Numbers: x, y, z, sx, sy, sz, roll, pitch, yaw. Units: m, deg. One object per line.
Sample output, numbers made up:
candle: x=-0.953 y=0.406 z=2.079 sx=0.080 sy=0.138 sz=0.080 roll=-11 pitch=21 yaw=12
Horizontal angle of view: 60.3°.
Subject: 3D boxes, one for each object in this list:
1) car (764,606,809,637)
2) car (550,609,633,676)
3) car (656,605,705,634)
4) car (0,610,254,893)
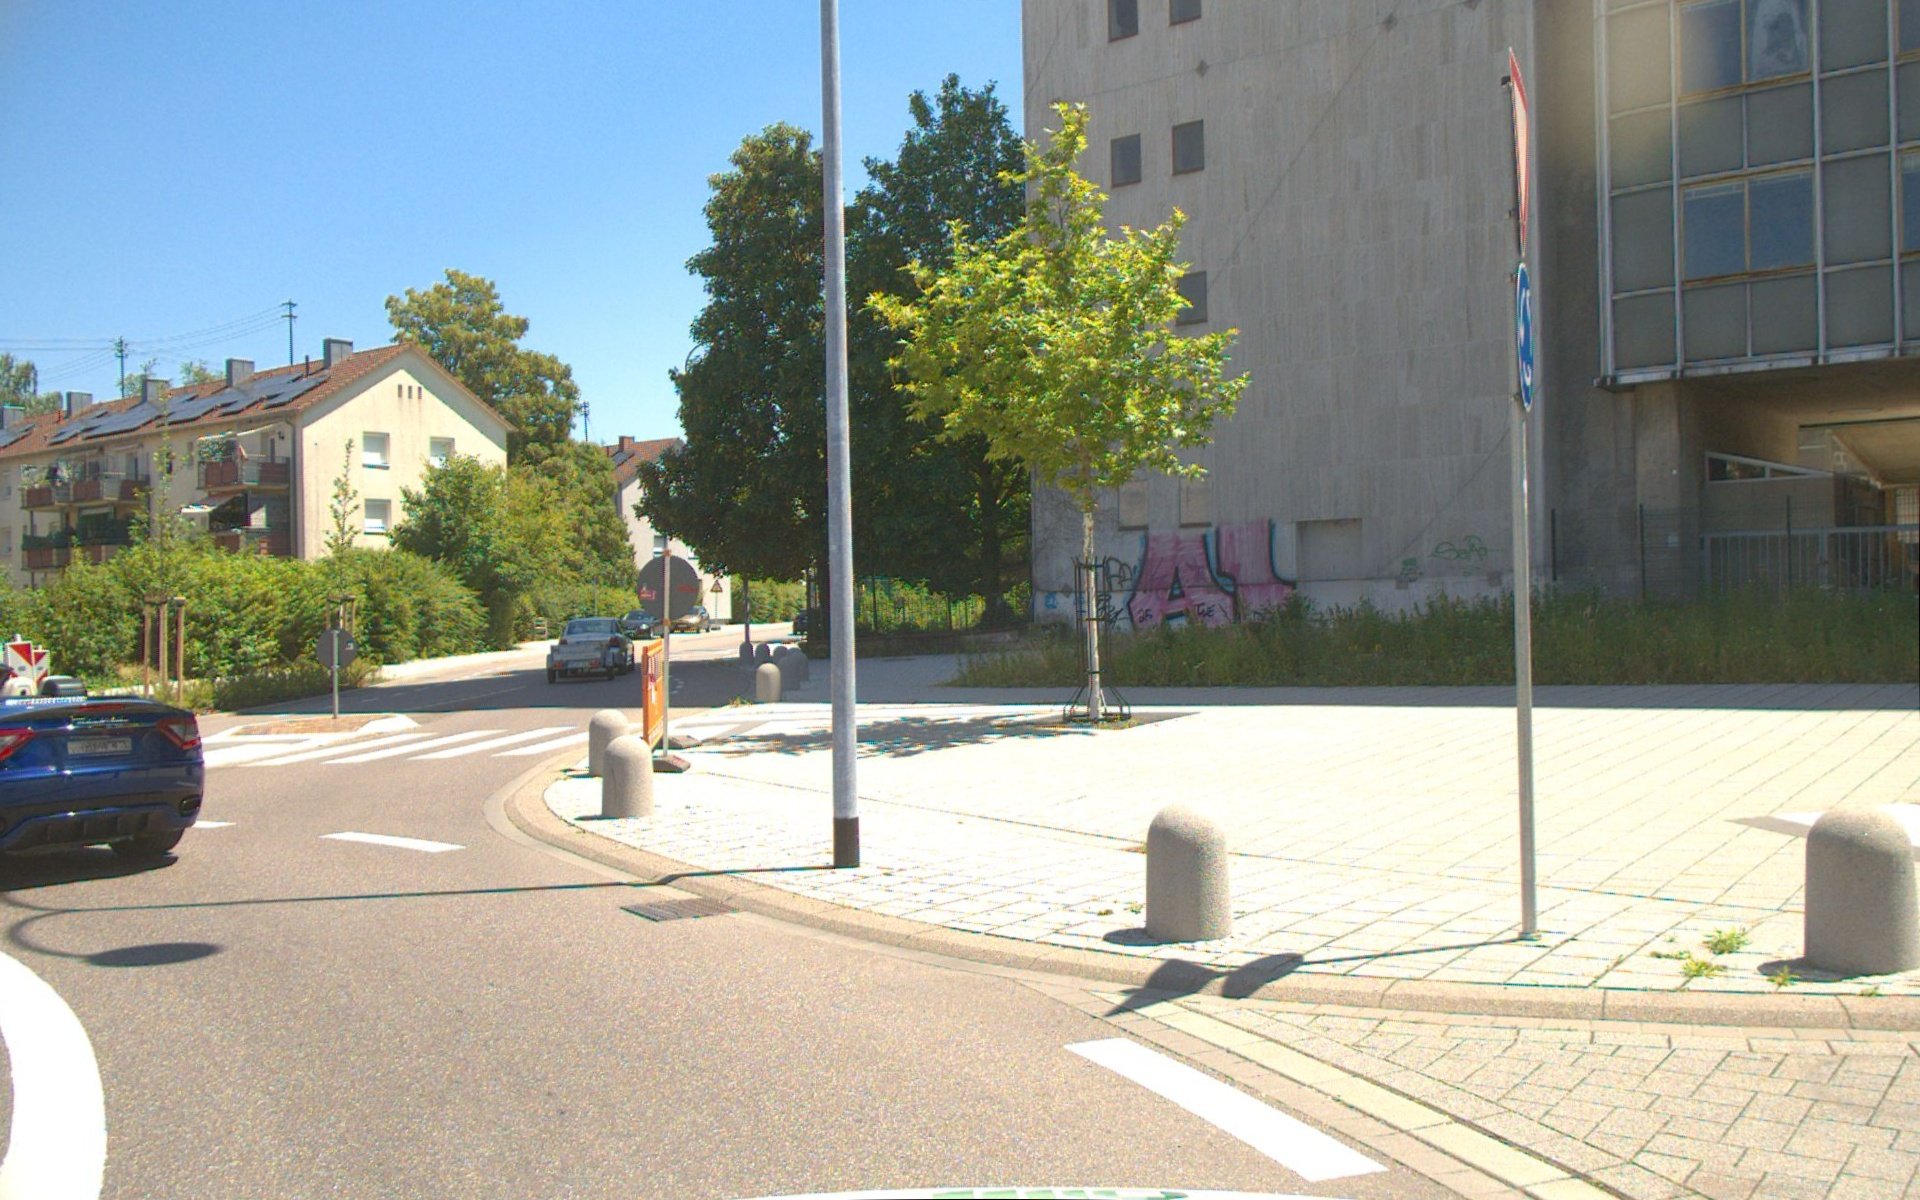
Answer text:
car: x=-9.322 y=1.150 z=89.215 sx=1.702 sy=1.461 sz=3.713 roll=-3 pitch=0 yaw=5
car: x=-9.089 y=1.019 z=40.992 sx=1.707 sy=1.461 sz=3.702 roll=-3 pitch=0 yaw=-9
car: x=-15.324 y=1.052 z=90.795 sx=1.702 sy=1.461 sz=3.713 roll=-3 pitch=0 yaw=5
car: x=-6.828 y=0.951 z=10.890 sx=4.412 sy=1.557 sz=1.872 roll=-3 pitch=-2 yaw=33
